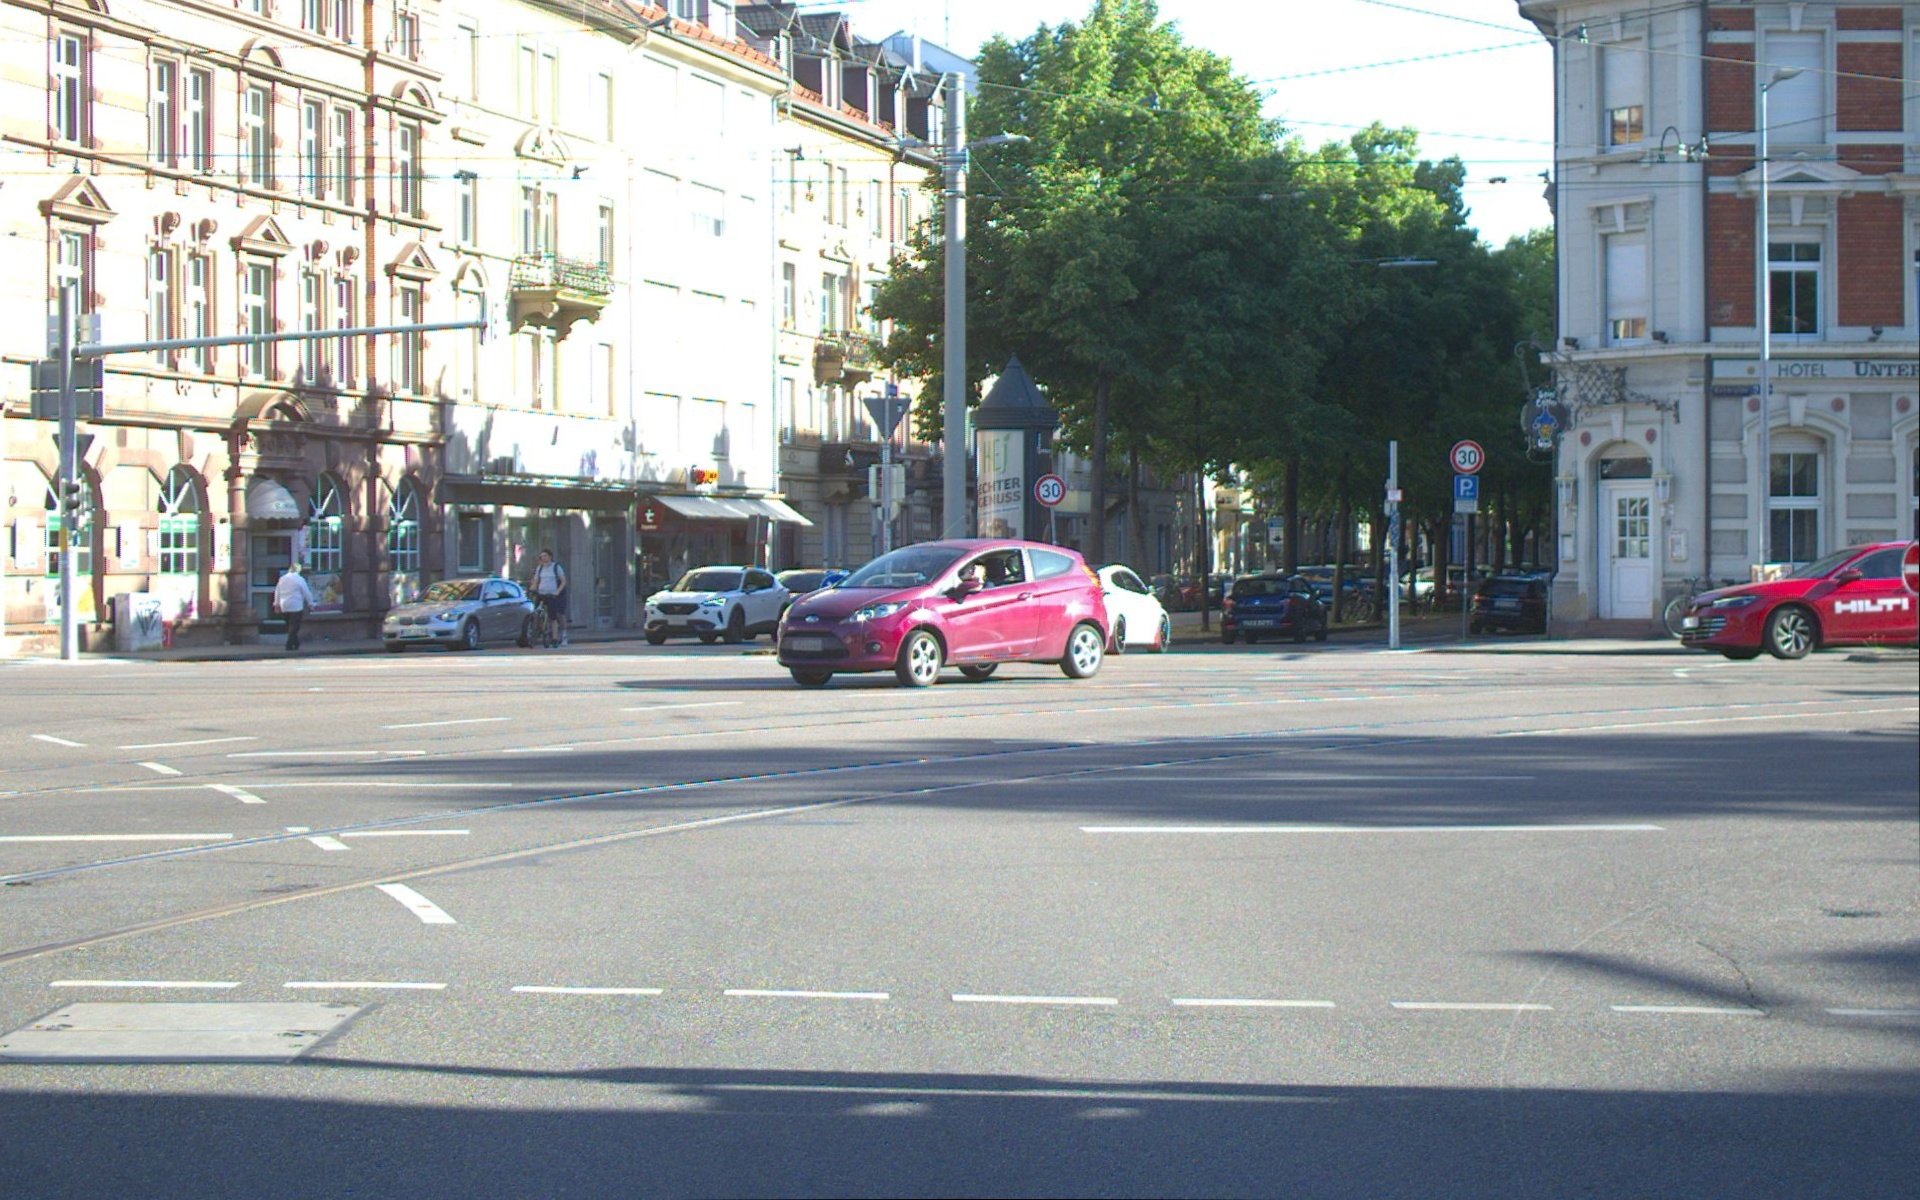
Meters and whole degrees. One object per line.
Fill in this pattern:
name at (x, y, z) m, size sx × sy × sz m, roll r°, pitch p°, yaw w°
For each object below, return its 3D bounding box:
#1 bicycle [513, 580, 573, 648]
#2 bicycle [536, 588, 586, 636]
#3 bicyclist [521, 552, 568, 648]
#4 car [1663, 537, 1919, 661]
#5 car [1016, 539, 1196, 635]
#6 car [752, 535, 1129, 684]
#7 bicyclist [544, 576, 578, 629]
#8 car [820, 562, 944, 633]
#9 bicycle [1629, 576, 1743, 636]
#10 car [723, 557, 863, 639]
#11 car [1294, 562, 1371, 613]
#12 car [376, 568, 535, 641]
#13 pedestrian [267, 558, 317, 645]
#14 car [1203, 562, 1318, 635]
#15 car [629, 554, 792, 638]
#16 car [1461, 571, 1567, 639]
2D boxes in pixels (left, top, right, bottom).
bicycle at (-7.878, 0.255, 64.995) m, size 0.565 × 1.250 × 1.556 m, roll 1°, pitch 0°, yaw 14°
bicycle at (-7.820, 0.232, 67.358) m, size 0.473 × 0.919 × 1.451 m, roll 1°, pitch 1°, yaw 14°
bicyclist at (-7.864, -0.009, 65.069) m, size 0.565 × 1.797 × 0.913 m, roll 1°, pitch 0°, yaw 15°
car at (11.334, -0.030, 42.474) m, size 4.857 × 1.464 × 1.804 m, roll 0°, pitch 2°, yaw -7°
car at (2.446, -0.239, 56.499) m, size 1.894 × 1.449 × 4.005 m, roll 0°, pitch 2°, yaw 19°
car at (-0.152, 0.054, 35.077) m, size 1.594 × 1.421 × 3.872 m, roll 2°, pitch 2°, yaw 44°
bicyclist at (-7.818, 0.052, 67.367) m, size 0.473 × 1.036 × 0.537 m, roll 1°, pitch 0°, yaw 15°
car at (-1.775, -0.064, 79.574) m, size 1.804 × 1.570 × 3.888 m, roll 1°, pitch 1°, yaw 15°
bicycle at (12.065, 0.102, 57.130) m, size 1.804 × 0.959 × 0.603 m, roll 1°, pitch 0°, yaw 14°
car at (-3.535, -0.062, 73.585) m, size 1.826 × 1.679 × 3.872 m, roll 1°, pitch 1°, yaw 16°
car at (12.649, -0.420, 116.612) m, size 1.995 × 1.678 × 3.997 m, roll 1°, pitch 1°, yaw 15°
car at (-9.799, 0.073, 67.030) m, size 1.661 × 1.369 × 3.889 m, roll 1°, pitch 1°, yaw 15°
pedestrian at (-12.713, 0.026, 65.466) m, size 0.568 × 1.636 × 0.792 m, roll 1°, pitch 0°, yaw 23°
car at (6.124, -0.058, 69.651) m, size 1.826 × 1.398 × 3.998 m, roll 0°, pitch 1°, yaw 12°
car at (-4.841, -0.090, 67.289) m, size 1.804 × 1.579 × 4.156 m, roll 1°, pitch 1°, yaw 17°
car at (13.317, 0.104, 82.514) m, size 1.758 × 1.550 × 3.996 m, roll 1°, pitch 1°, yaw 20°
